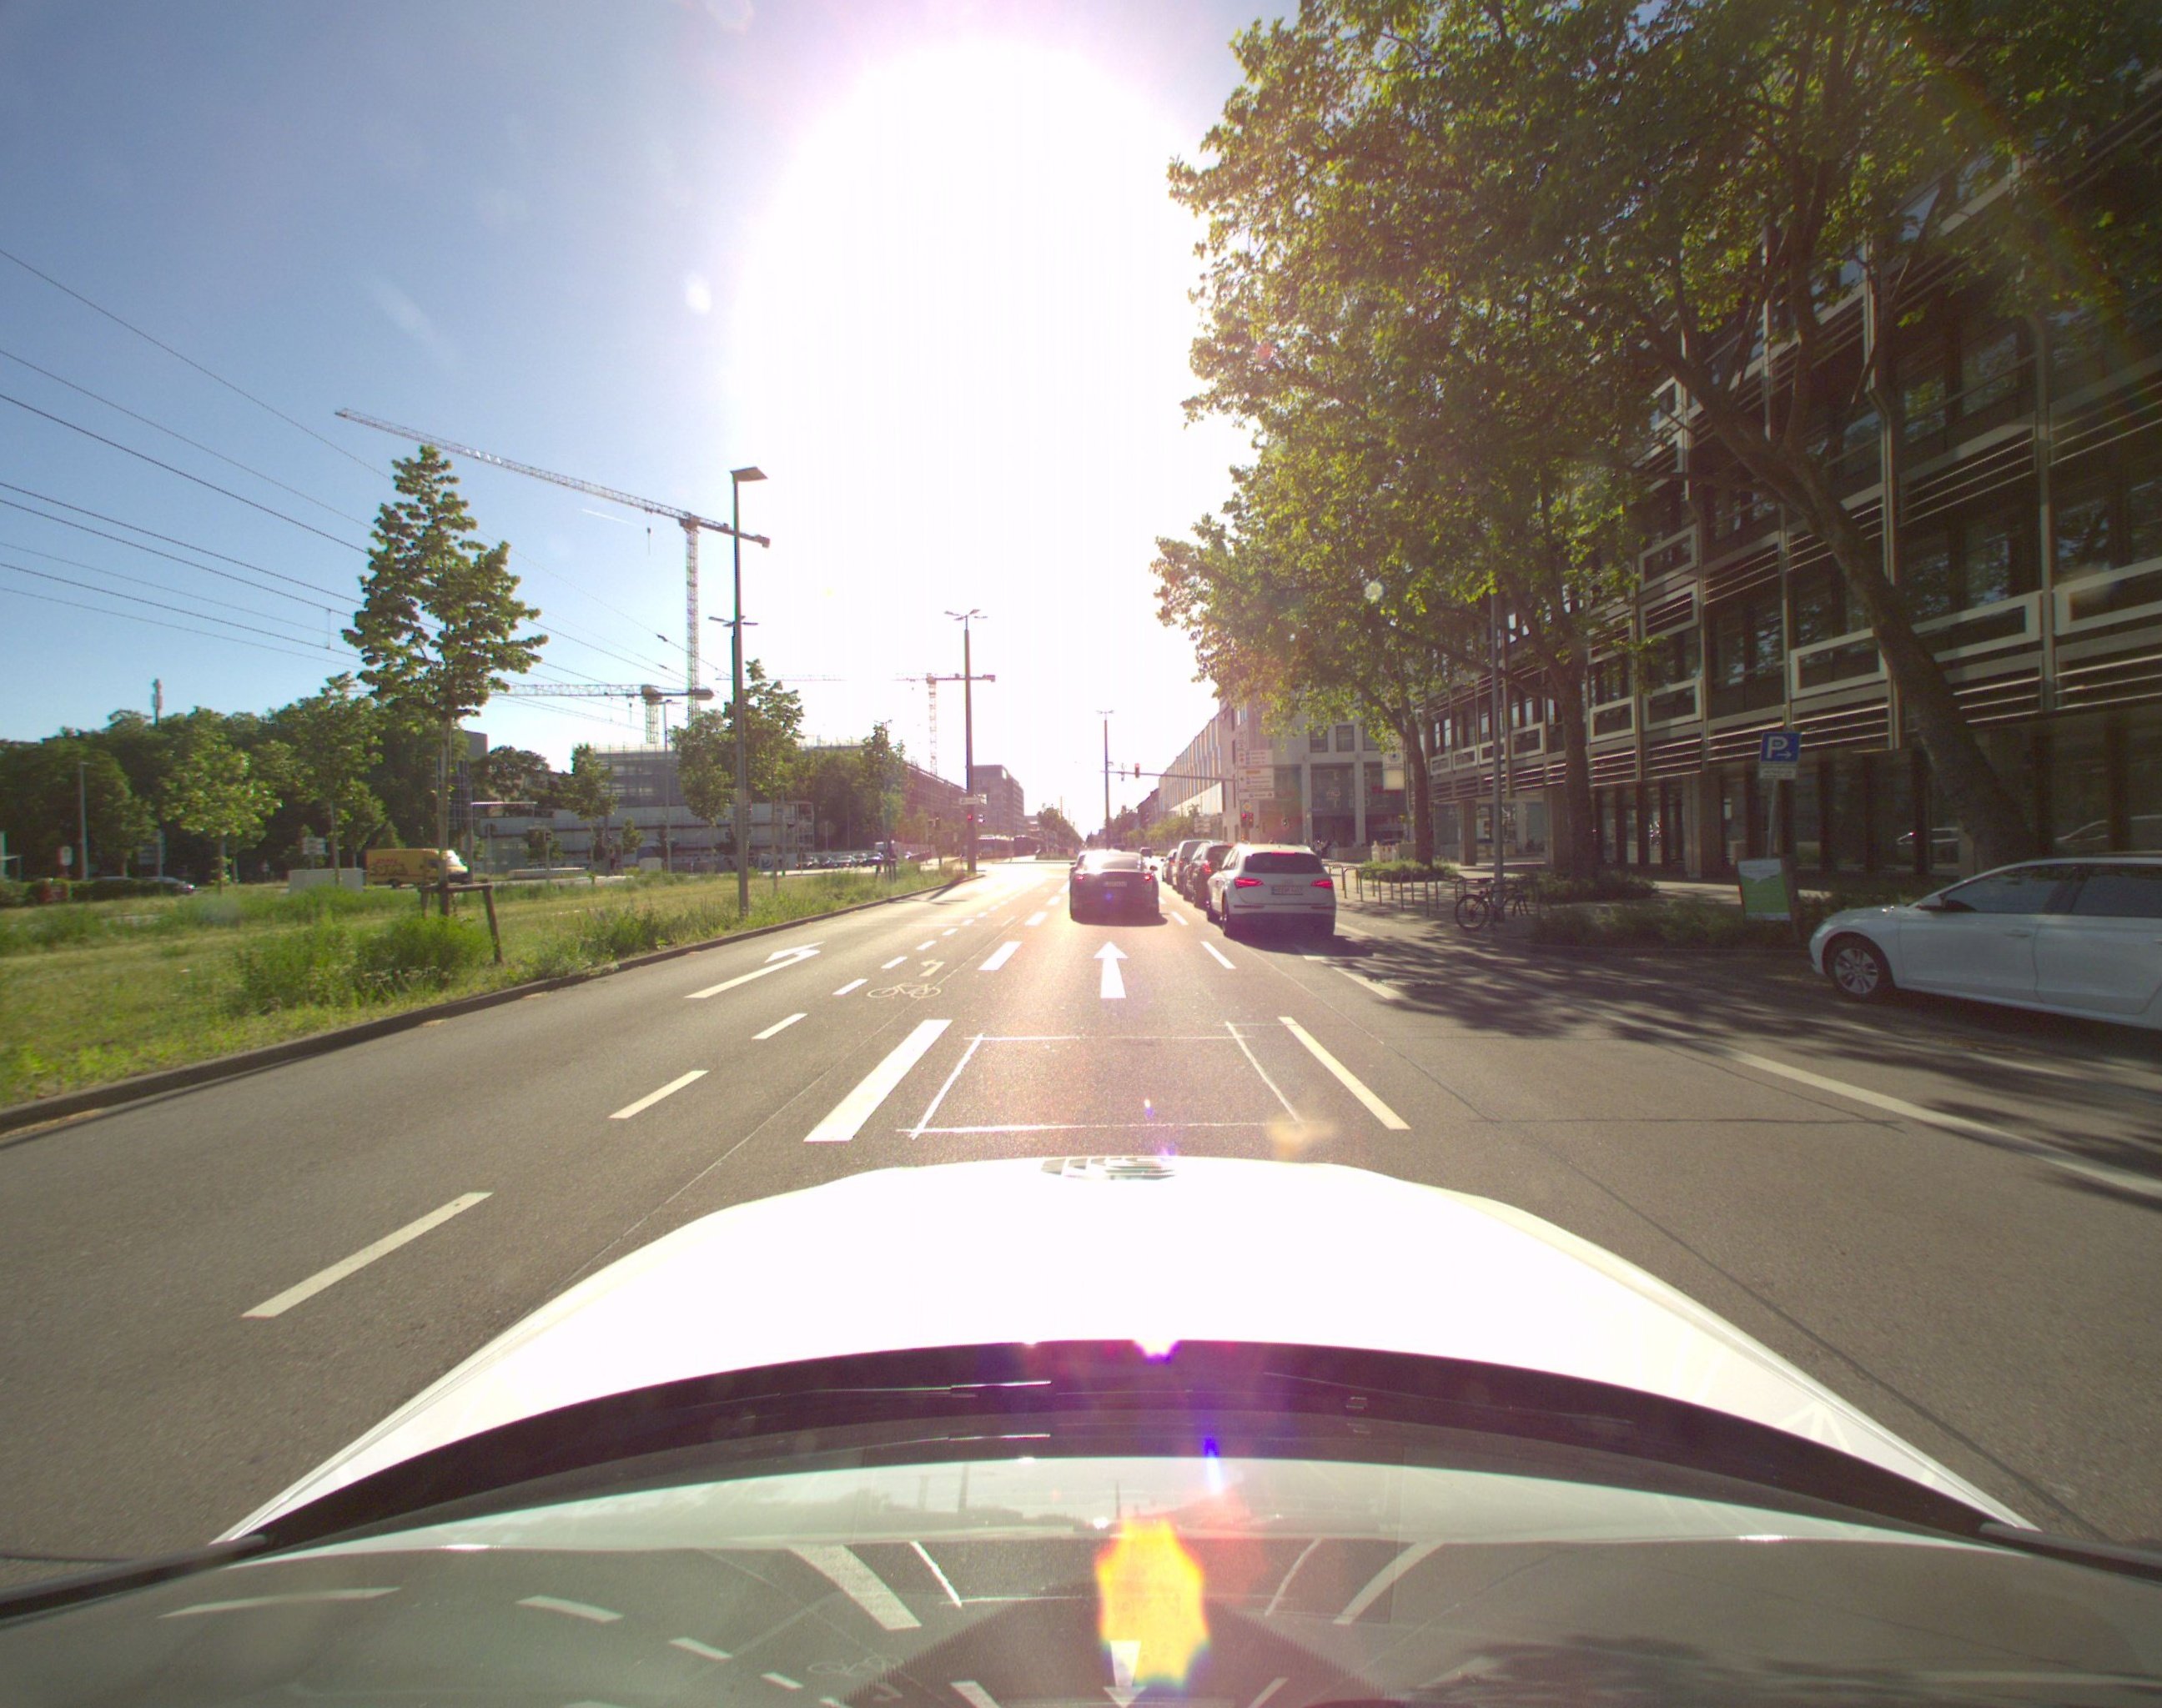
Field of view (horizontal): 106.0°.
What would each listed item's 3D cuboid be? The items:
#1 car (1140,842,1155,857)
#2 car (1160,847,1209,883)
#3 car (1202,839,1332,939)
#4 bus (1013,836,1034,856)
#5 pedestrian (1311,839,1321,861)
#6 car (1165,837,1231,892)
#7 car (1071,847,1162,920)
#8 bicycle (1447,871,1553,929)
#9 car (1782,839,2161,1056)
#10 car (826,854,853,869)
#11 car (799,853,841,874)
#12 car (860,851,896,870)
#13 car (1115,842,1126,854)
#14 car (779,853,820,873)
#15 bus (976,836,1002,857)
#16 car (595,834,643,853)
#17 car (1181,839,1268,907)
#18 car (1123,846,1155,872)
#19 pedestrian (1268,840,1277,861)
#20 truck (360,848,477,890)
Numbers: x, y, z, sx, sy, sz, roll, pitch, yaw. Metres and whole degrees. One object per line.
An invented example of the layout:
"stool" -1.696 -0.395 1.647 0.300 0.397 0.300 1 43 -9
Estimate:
"car" 9.334 -0.607 114.641 1.986 2.014 4.002 1 0 2
"car" 4.394 0.419 35.025 1.715 1.431 4.189 -1 1 2
"car" 3.360 0.549 15.461 1.714 1.618 4.190 -1 1 3
"bus" -8.909 -1.119 127.203 2.620 2.959 9.894 1 0 -1
"pedestrian" 16.005 -0.267 55.436 0.559 1.440 0.633 1 -1 8
"car" 4.057 0.317 28.812 1.716 1.782 4.186 -1 1 0
"car" 0.779 0.607 19.232 1.905 1.486 4.010 -1 1 1
"bicycle" 7.651 0.829 14.891 1.689 0.957 0.478 -3 1 -3
"car" 8.407 0.637 6.544 1.697 1.492 4.602 -1 1 2
"car" -26.933 0.787 90.894 1.831 1.612 3.896 1 0 1
"car" -15.727 0.558 49.193 1.371 1.178 3.221 1 0 1
"car" -12.485 0.397 50.293 1.371 1.178 3.221 1 0 1
"car" 6.931 -1.117 143.146 1.986 2.014 4.002 1 0 2
"car" -17.426 0.531 50.561 1.371 1.178 3.221 1 0 1
"bus" -12.364 -0.953 110.327 2.620 2.783 8.840 1 0 -1
"car" -39.424 -0.879 69.573 1.704 1.556 4.002 1 0 2
"car" 3.791 0.444 22.148 1.715 1.653 4.187 -1 1 1
"car" 3.396 0.242 48.082 1.715 1.431 4.189 -1 1 2
"pedestrian" 13.486 -0.222 57.394 0.559 1.440 0.633 1 -1 8
"truck" -49.230 1.107 60.606 6.941 2.963 2.000 1 -1 0
